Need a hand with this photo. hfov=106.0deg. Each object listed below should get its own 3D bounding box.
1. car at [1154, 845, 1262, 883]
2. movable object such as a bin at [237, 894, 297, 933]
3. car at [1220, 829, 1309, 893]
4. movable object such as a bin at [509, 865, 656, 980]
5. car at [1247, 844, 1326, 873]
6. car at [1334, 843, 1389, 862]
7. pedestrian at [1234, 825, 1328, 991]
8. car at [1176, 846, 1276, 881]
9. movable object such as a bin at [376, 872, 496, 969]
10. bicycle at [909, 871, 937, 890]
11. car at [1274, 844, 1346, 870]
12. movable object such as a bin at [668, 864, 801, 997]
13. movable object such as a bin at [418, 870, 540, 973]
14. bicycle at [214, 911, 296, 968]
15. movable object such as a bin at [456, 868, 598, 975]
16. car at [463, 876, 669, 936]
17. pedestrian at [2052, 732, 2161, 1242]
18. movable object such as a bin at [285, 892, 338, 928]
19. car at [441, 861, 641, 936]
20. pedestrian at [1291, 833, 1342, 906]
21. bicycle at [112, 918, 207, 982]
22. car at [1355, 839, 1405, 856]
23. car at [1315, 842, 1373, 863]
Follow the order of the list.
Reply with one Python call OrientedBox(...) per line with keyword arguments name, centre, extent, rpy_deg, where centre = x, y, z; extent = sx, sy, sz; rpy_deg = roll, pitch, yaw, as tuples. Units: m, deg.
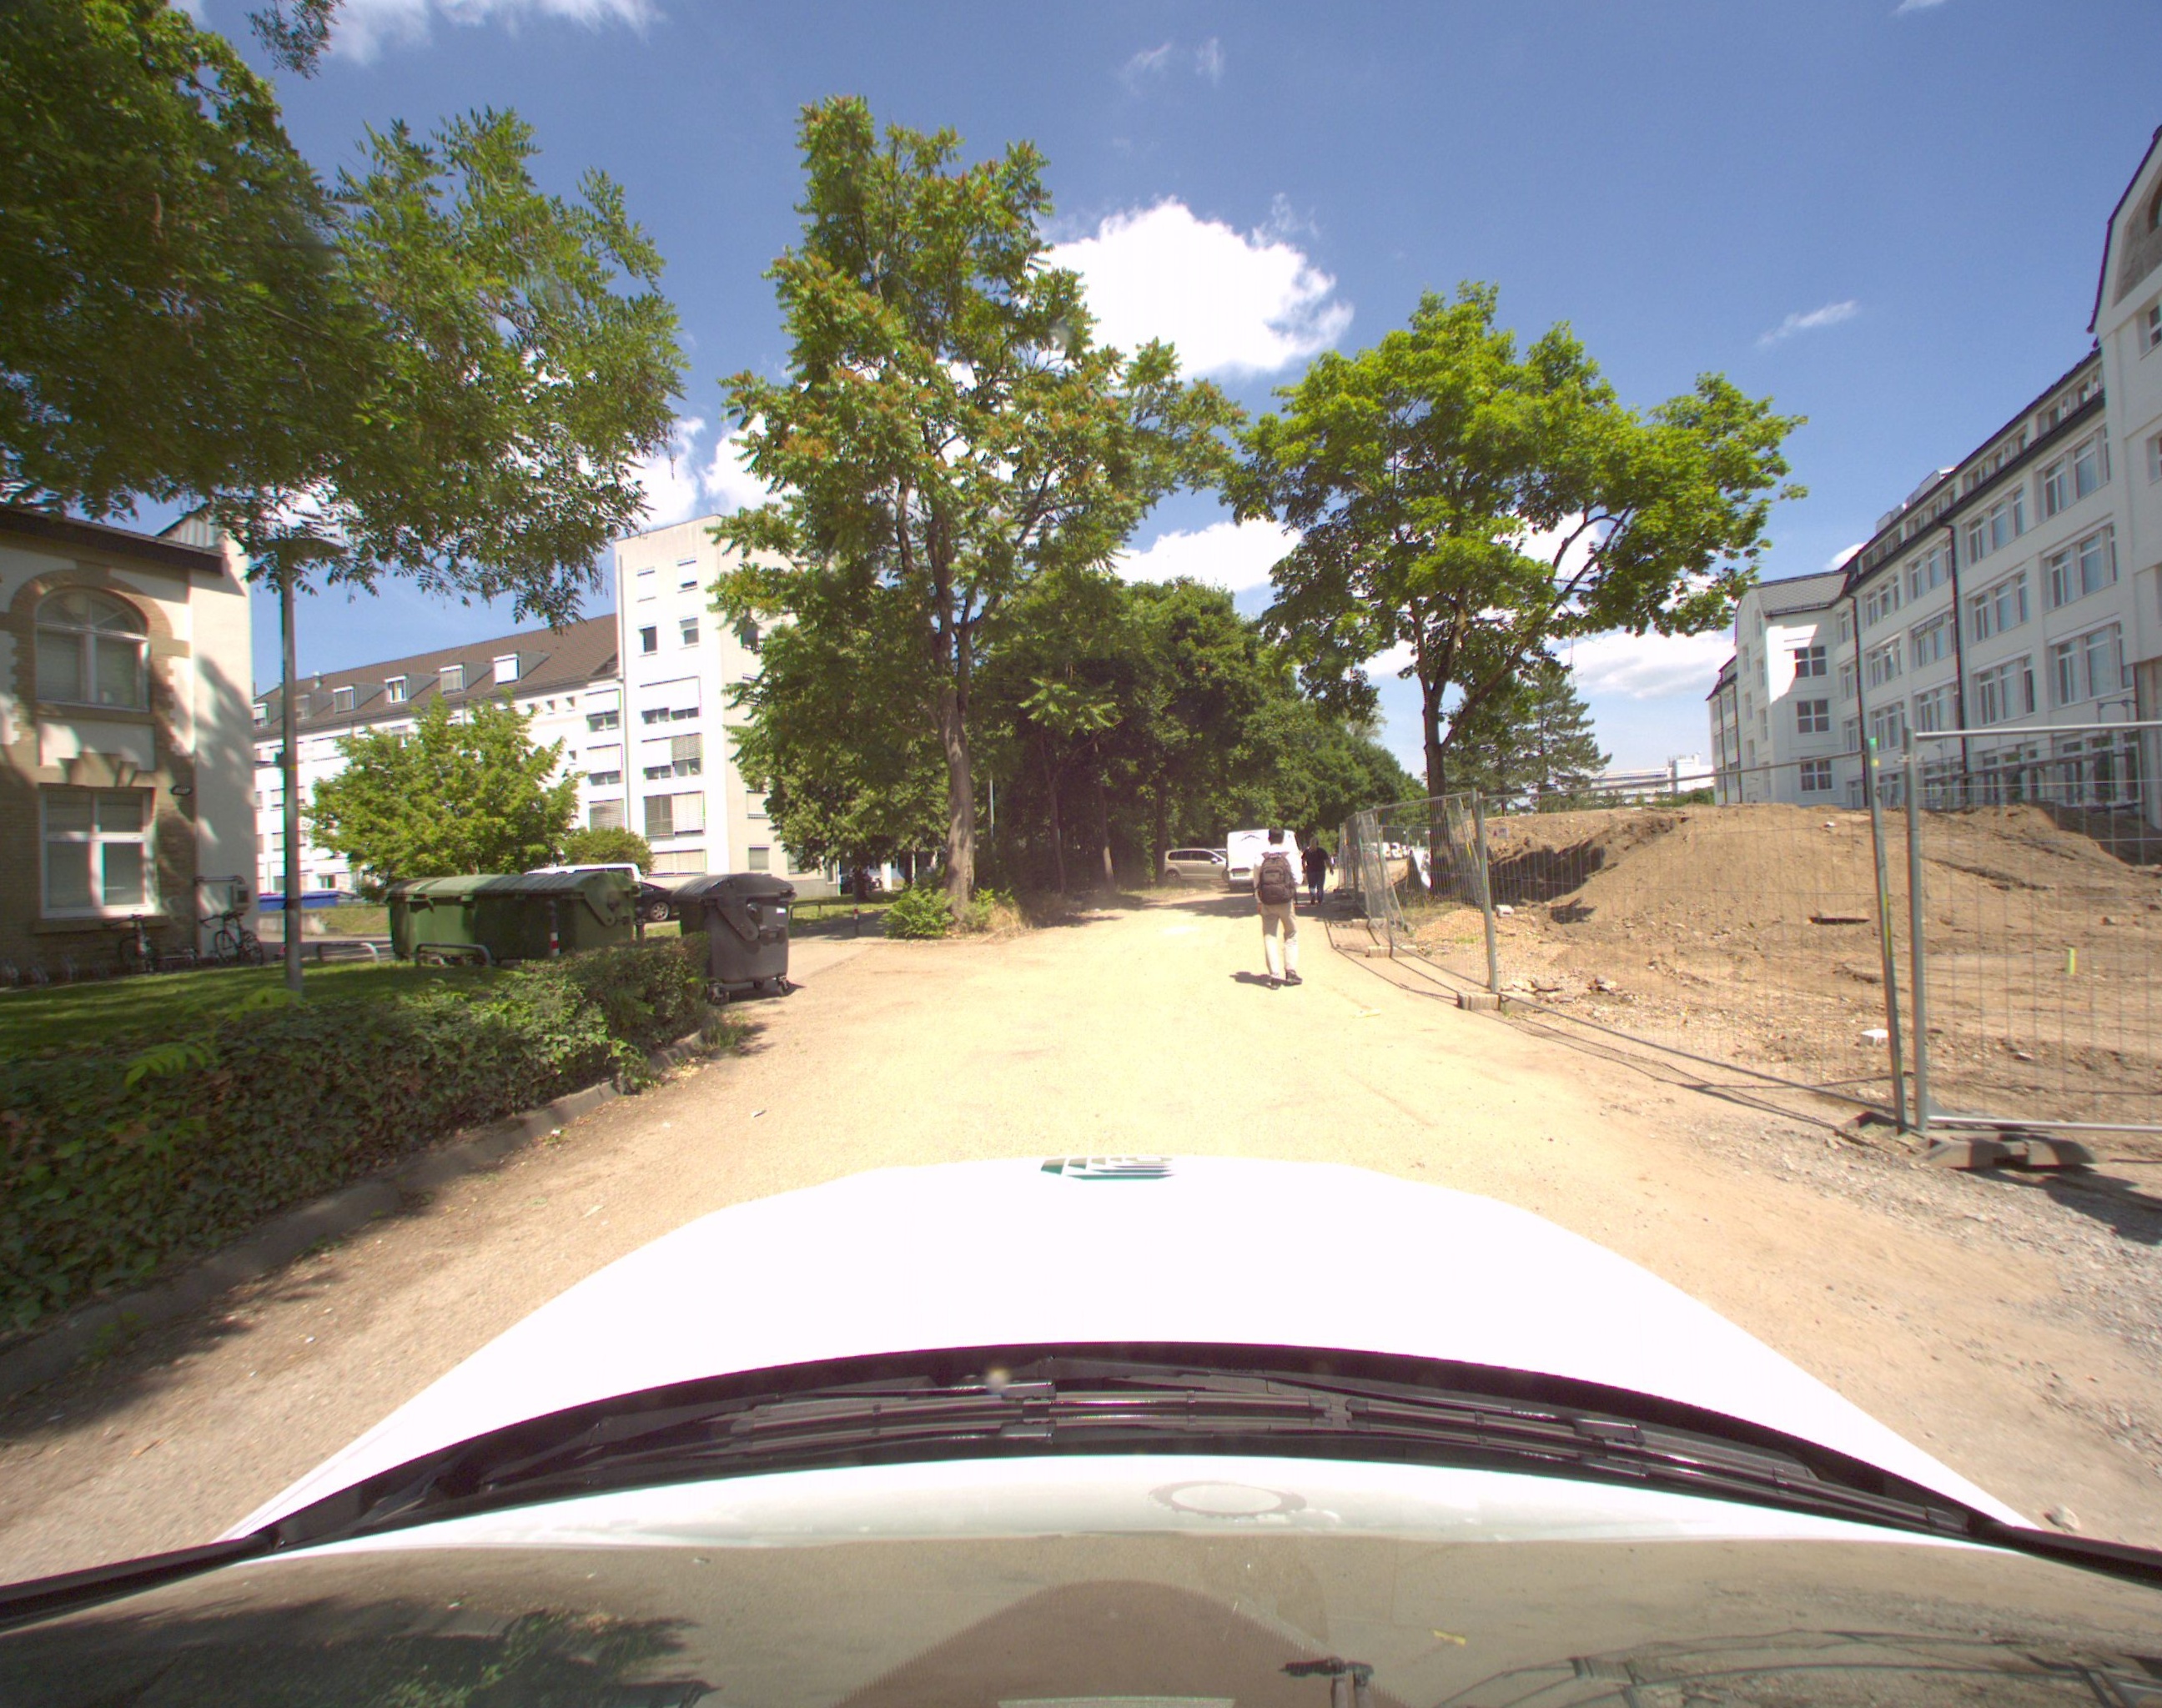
OrientedBox(name="car", centre=(5.873, 0.492, 37.741), extent=(4.463, 1.609, 2.012), rpy_deg=(-2, -2, 28))
OrientedBox(name="movable object such as a bin", centre=(-31.090, 2.261, 31.123), extent=(1.145, 1.326, 1.352), rpy_deg=(-3, 0, 30))
OrientedBox(name="car", centre=(6.300, 0.205, 27.599), extent=(1.955, 1.947, 4.607), rpy_deg=(-3, 0, 24))
OrientedBox(name="movable object such as a bin", centre=(-7.061, 0.939, 11.575), extent=(1.308, 1.479, 1.215), rpy_deg=(-3, 0, 25))
OrientedBox(name="car", centre=(12.938, 0.279, 51.227), extent=(4.463, 1.597, 1.736), rpy_deg=(-2, 0, 27))
OrientedBox(name="car", centre=(25.524, -0.163, 74.215), extent=(4.463, 1.547, 1.736), rpy_deg=(-2, 0, 27))
OrientedBox(name="pedestrian", centre=(2.206, 0.568, 9.130), extent=(0.869, 1.729, 1.083), rpy_deg=(-2, 0, 8))
OrientedBox(name="car", centre=(7.100, 0.465, 39.977), extent=(4.463, 1.531, 1.736), rpy_deg=(-2, 0, 27))
OrientedBox(name="movable object such as a bin", centre=(-10.736, 1.083, 13.568), extent=(1.392, 1.479, 1.054), rpy_deg=(-3, 0, 28))
OrientedBox(name="bicycle", centre=(-9.821, 1.653, 50.674), extent=(0.594, 1.084, 1.951), rpy_deg=(-2, 0, 26))
OrientedBox(name="car", centre=(15.827, 0.216, 56.294), extent=(4.463, 1.598, 1.948), rpy_deg=(-2, 0, 28))
OrientedBox(name="movable object such as a bin", centre=(-4.100, 0.846, 9.613), extent=(1.122, 1.394, 1.147), rpy_deg=(-2, 0, -39))
OrientedBox(name="movable object such as a bin", centre=(-9.465, 1.033, 12.823), extent=(1.246, 1.479, 1.054), rpy_deg=(-3, 0, 28))
OrientedBox(name="bicycle", centre=(-15.145, 1.542, 14.926), extent=(1.707, 0.958, 0.617), rpy_deg=(-2, 0, 30))
OrientedBox(name="movable object such as a bin", centre=(-8.243, 0.985, 12.162), extent=(1.345, 1.479, 1.101), rpy_deg=(-3, 0, 17))
OrientedBox(name="car", centre=(-14.481, 1.410, 23.231), extent=(1.810, 1.352, 4.655), rpy_deg=(-2, 0, 28))
OrientedBox(name="pedestrian", centre=(4.343, 0.465, 2.831), extent=(0.955, 1.819, 0.876), rpy_deg=(-3, 0, 31))
OrientedBox(name="movable object such as a bin", centre=(-30.491, 2.224, 32.286), extent=(1.145, 1.326, 1.228), rpy_deg=(-3, 0, 30))
OrientedBox(name="car", centre=(-16.710, 1.307, 25.511), extent=(1.975, 2.013, 4.804), rpy_deg=(-3, -1, 28))
OrientedBox(name="pedestrian", centre=(5.552, 0.355, 19.273), extent=(1.028, 1.650, 1.053), rpy_deg=(-2, 0, 12))
OrientedBox(name="bicycle", centre=(-15.665, 1.600, 13.831), extent=(2.231, 0.958, 0.611), rpy_deg=(-2, 0, 30))
OrientedBox(name="car", centre=(30.337, -0.651, 82.700), extent=(4.463, 1.597, 1.736), rpy_deg=(-3, 0, 27))
OrientedBox(name="car", centre=(22.550, -0.147, 69.885), extent=(4.463, 1.598, 1.736), rpy_deg=(-2, 0, 27))
